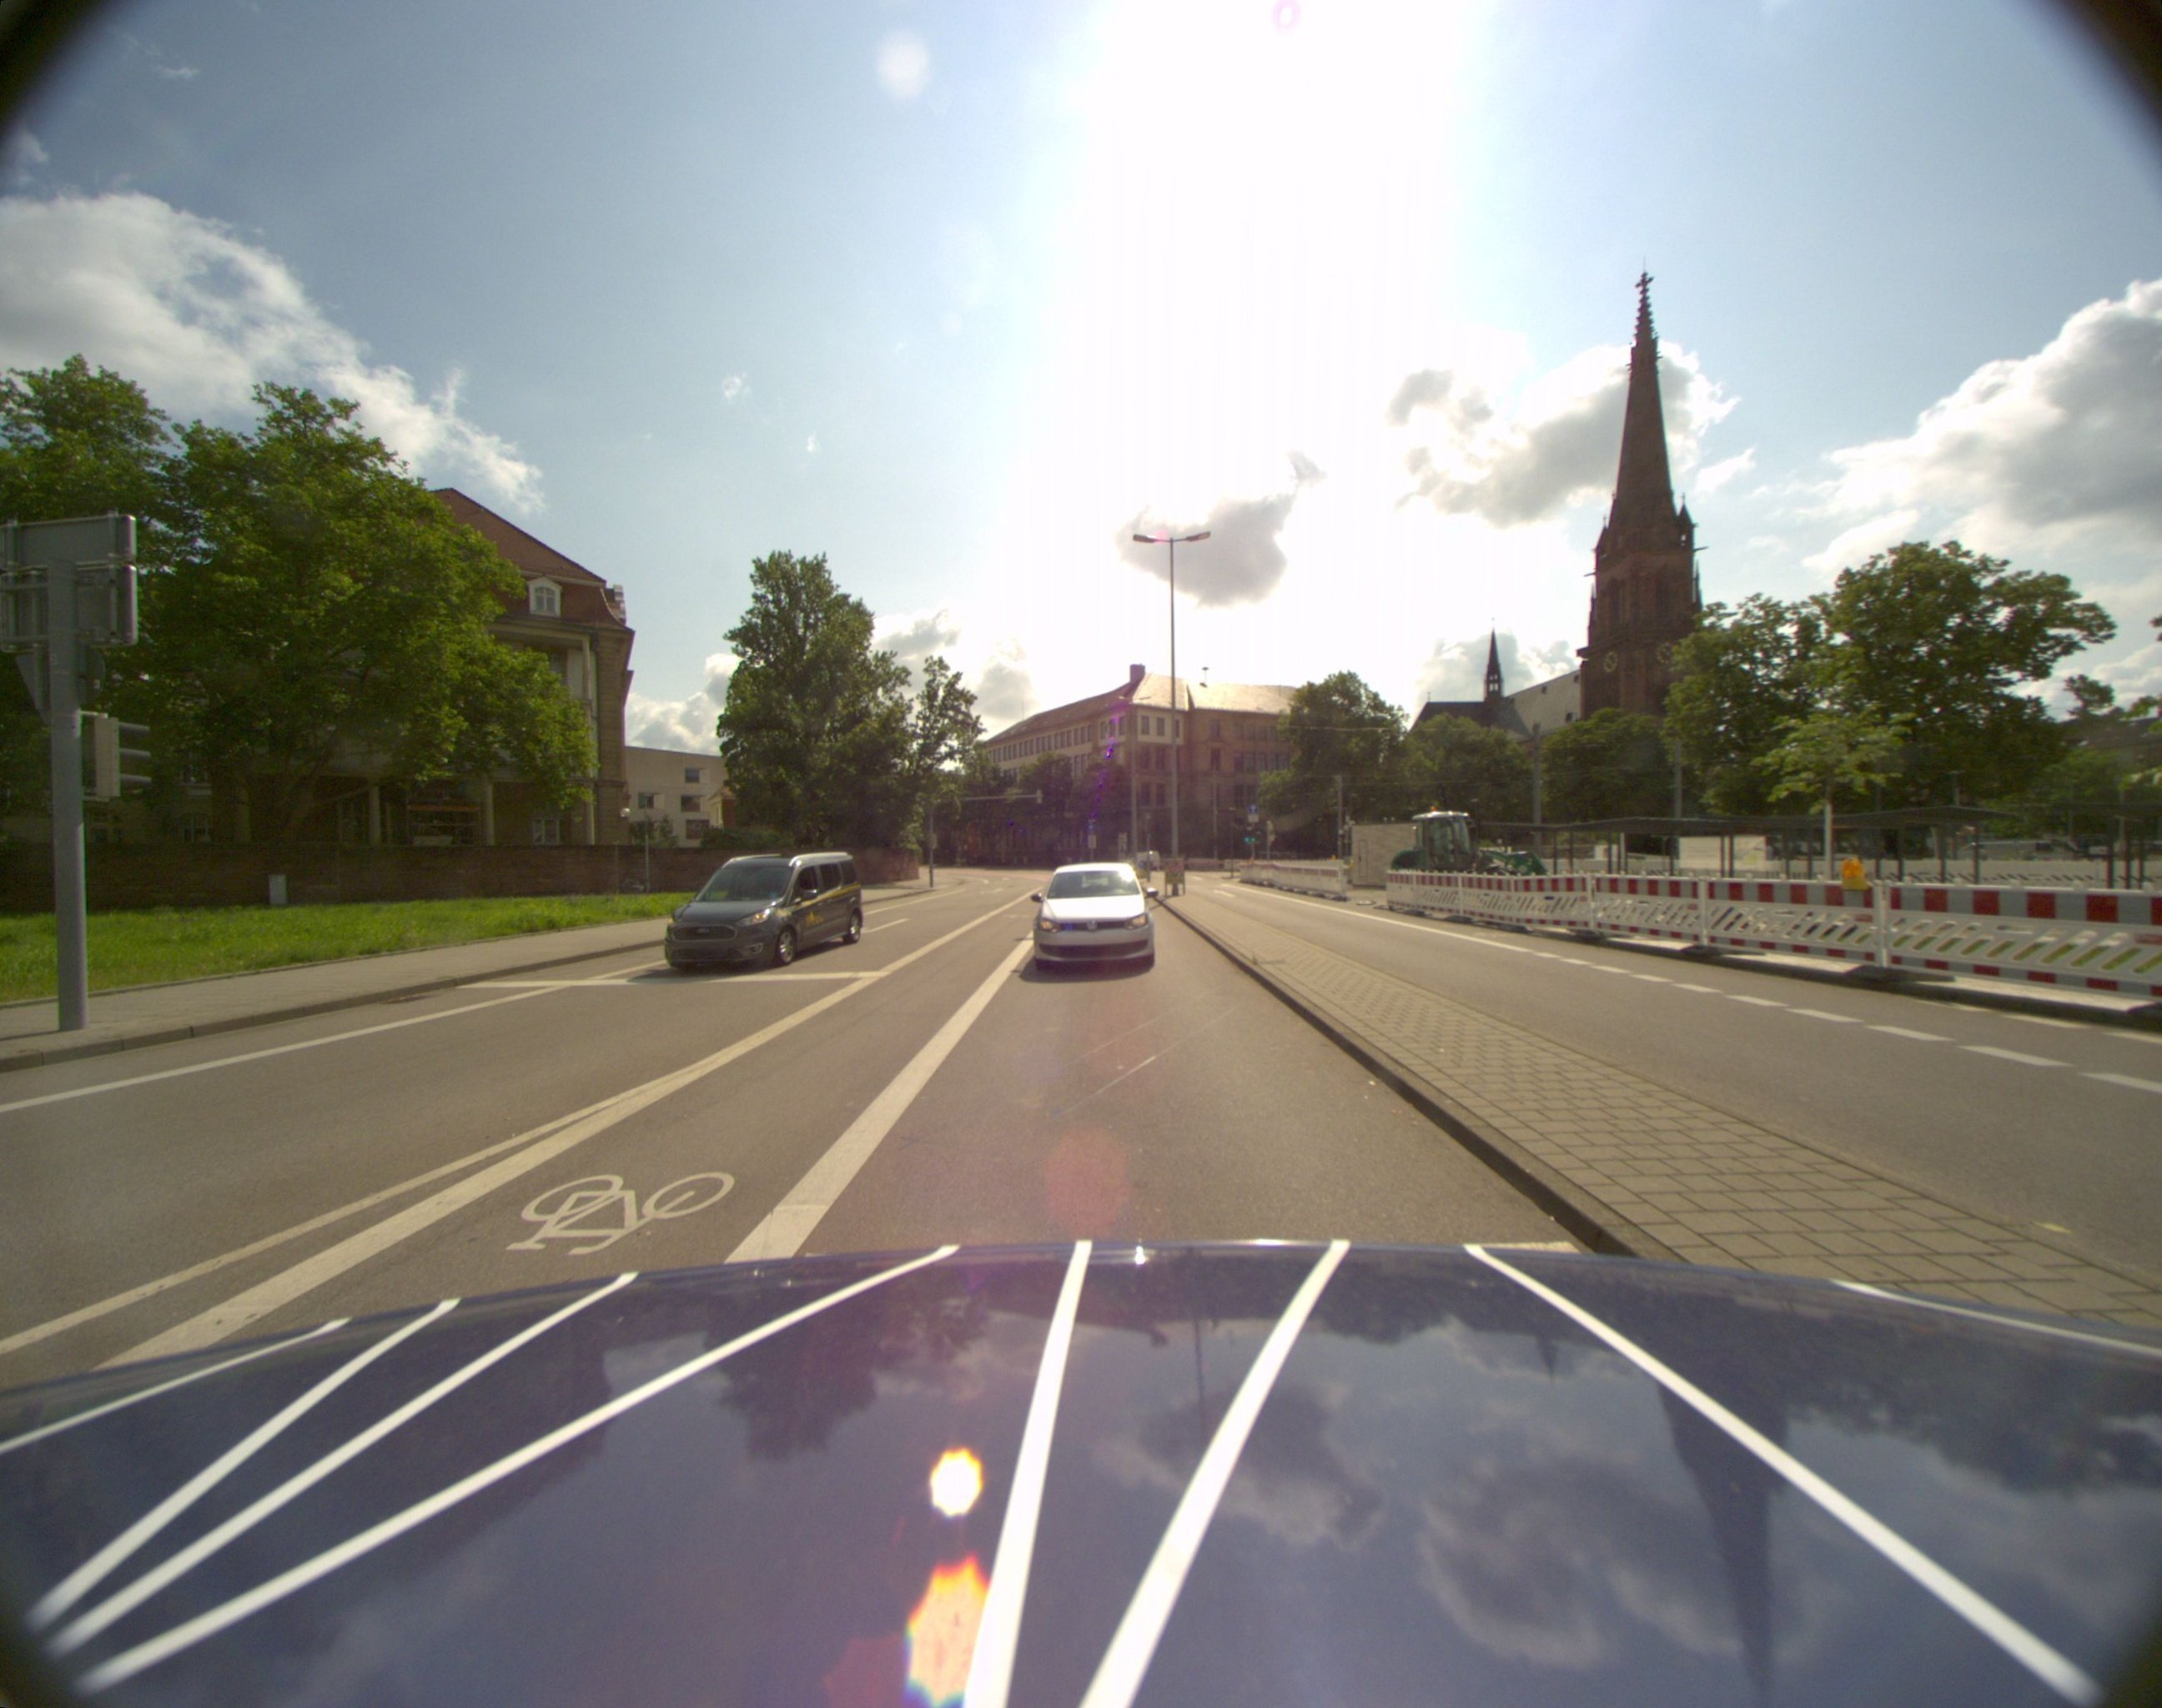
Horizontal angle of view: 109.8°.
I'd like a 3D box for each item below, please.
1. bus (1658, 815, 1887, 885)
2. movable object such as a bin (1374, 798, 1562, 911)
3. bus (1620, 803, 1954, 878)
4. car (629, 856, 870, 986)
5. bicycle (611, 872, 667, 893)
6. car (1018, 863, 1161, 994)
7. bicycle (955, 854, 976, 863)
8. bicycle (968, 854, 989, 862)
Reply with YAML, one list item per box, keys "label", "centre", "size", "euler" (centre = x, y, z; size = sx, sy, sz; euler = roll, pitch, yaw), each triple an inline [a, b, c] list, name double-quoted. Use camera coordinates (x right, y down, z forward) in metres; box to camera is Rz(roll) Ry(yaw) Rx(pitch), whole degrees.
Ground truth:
- label: "bus"
  centre: [32.767, -0.182, 36.442]
  size: [2.378, 3.040, 7.743]
  euler: [-1, 1, -33]
- label: "movable object such as a bin"
  centre: [11.088, 0.014, 22.012]
  size: [2.004, 2.932, 4.438]
  euler: [-1, 1, -42]
- label: "bus"
  centre: [34.900, -0.592, 38.551]
  size: [2.999, 3.243, 12.044]
  euler: [-1, 0, -33]
- label: "car"
  centre: [-5.407, 0.969, 13.222]
  size: [1.853, 1.775, 4.672]
  euler: [-2, 0, 3]
- label: "bicycle"
  centre: [-20.367, 1.291, 35.050]
  size: [2.065, 0.856, 0.856]
  euler: [-1, 2, -45]
- label: "car"
  centre: [0.141, 0.924, 11.190]
  size: [1.655, 1.433, 4.005]
  euler: [-3, 0, 1]
- label: "bicycle"
  centre: [-17.734, 0.685, 116.703]
  size: [2.891, 1.200, 1.073]
  euler: [0, 4, 9]
- label: "bicycle"
  centre: [-15.452, 0.605, 114.471]
  size: [2.891, 1.200, 1.050]
  euler: [0, 4, 9]
